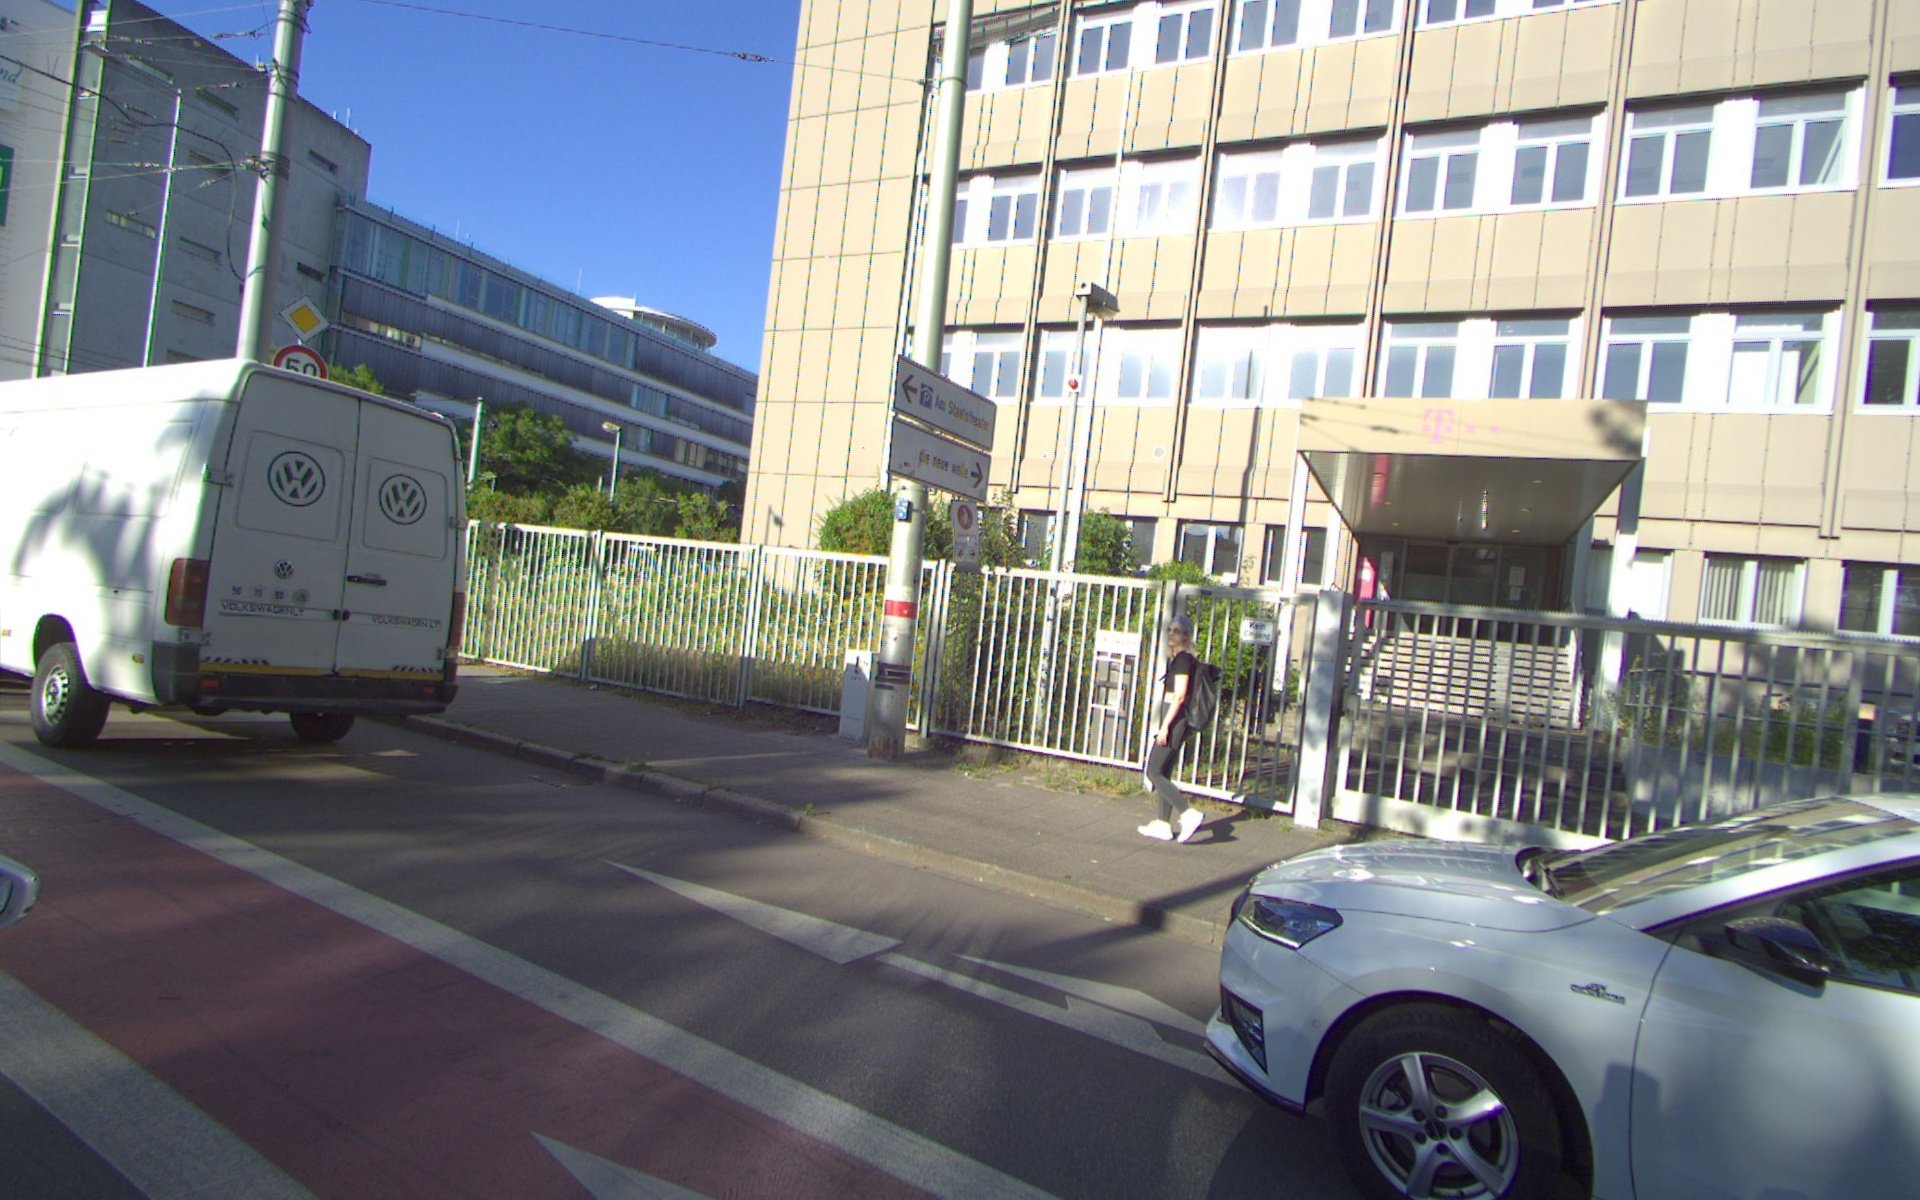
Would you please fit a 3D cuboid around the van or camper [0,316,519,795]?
[{"bbox_3d":[-6.598,-0.463,8.109,6.197,2.748,1.973,6,-1,29],"label":"van or camper"}]

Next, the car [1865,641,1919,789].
[{"bbox_3d":[14.475,1.703,12.182,4.701,1.865,1.998,6,0,27],"label":"car"}]

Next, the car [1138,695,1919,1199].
[{"bbox_3d":[2.778,1.267,2.907,4.006,1.405,1.705,6,-2,31],"label":"car"}]

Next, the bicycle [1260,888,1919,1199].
[{"bbox_3d":[1.410,1.127,0.737,2.269,1.158,0.763,6,0,32],"label":"bicycle"}]

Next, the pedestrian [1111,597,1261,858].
[{"bbox_3d":[1.696,0.919,7.523,0.757,1.784,0.591,7,0,32],"label":"pedestrian"}]
